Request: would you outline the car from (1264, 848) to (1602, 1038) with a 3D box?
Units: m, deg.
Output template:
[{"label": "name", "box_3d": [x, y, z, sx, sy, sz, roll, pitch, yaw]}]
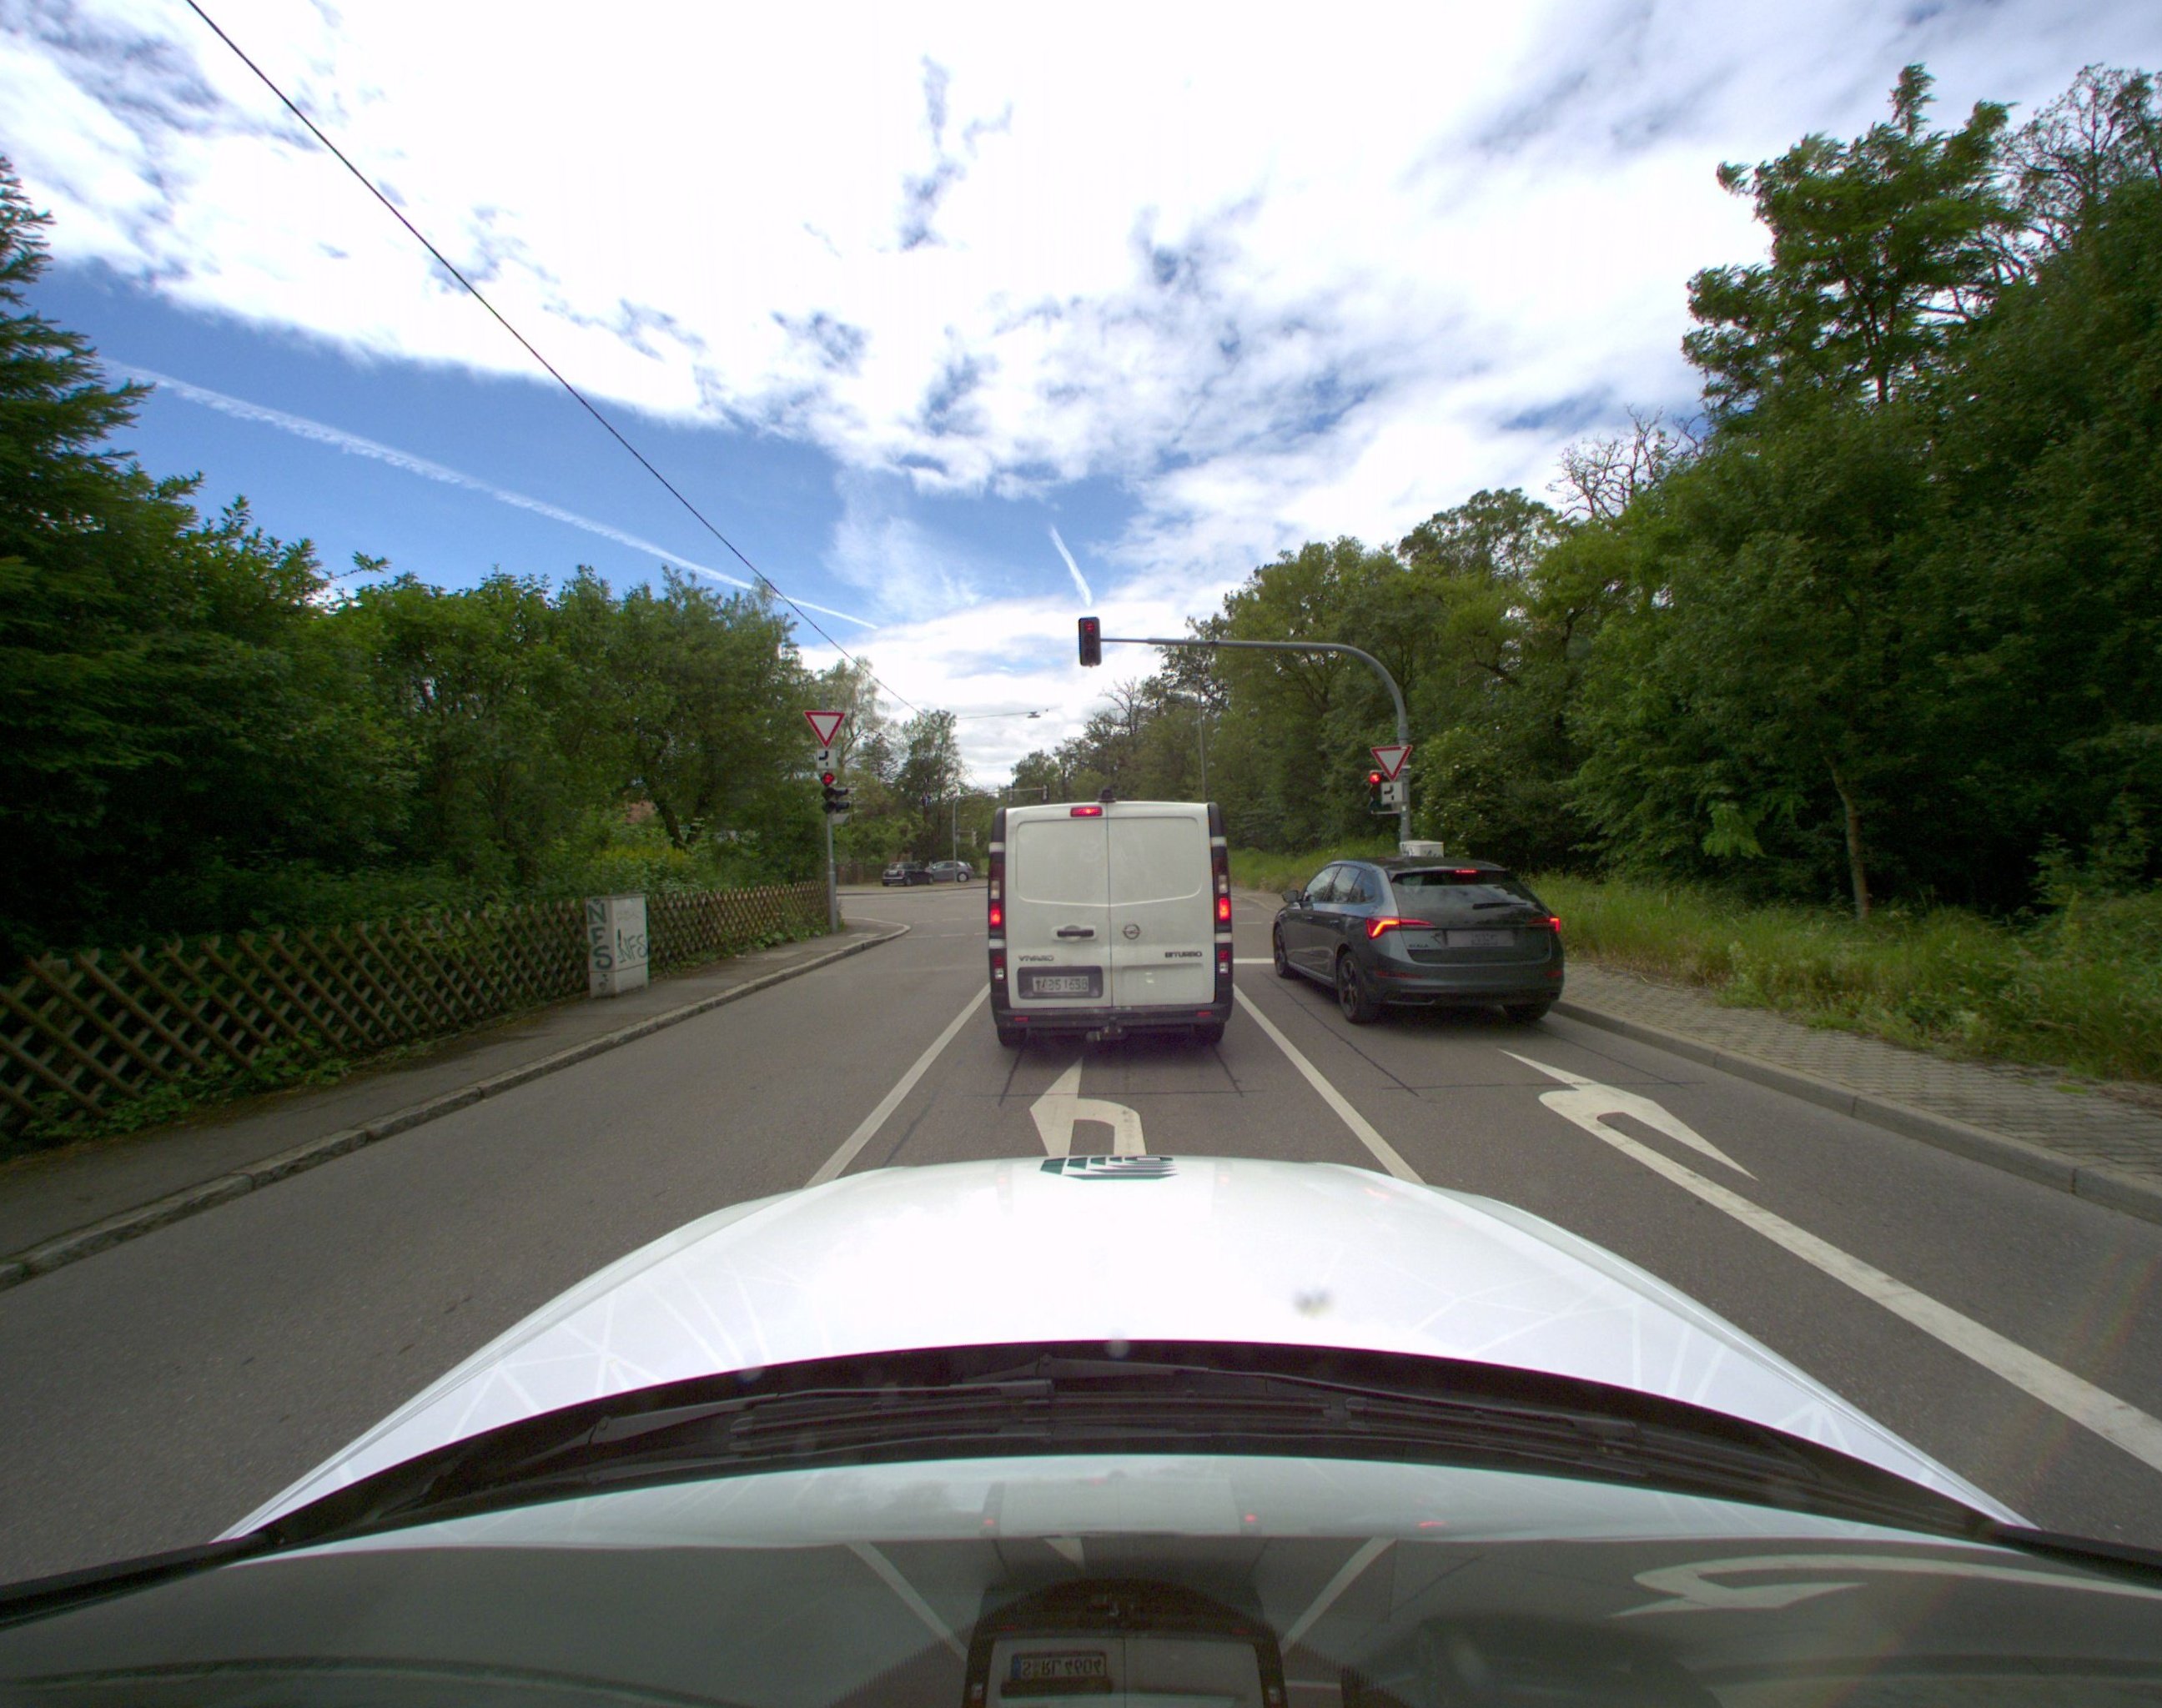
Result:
[{"label": "car", "box_3d": [3.226, 0.698, 8.427, 1.786, 1.450, 4.000, -2, 0, 1]}]

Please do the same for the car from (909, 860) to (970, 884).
[{"label": "car", "box_3d": [-10.066, 1.281, 57.943, 4.094, 1.553, 1.845, -2, 0, -16]}]

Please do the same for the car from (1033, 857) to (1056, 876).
[{"label": "car", "box_3d": [-3.071, 1.054, 69.508, 1.852, 1.507, 3.996, -2, 0, -2]}]

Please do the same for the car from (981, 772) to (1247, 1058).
[{"label": "car", "box_3d": [0.232, 0.437, 8.170, 1.910, 2.053, 4.613, 0, 0, 0]}]

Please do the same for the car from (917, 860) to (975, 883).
[{"label": "car", "box_3d": [-10.194, 1.276, 61.368, 4.094, 1.553, 1.845, -2, 0, -16]}]

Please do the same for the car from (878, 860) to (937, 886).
[{"label": "car", "box_3d": [-10.112, 1.103, 47.791, 1.683, 1.449, 3.562, 1, 0, 22]}]
